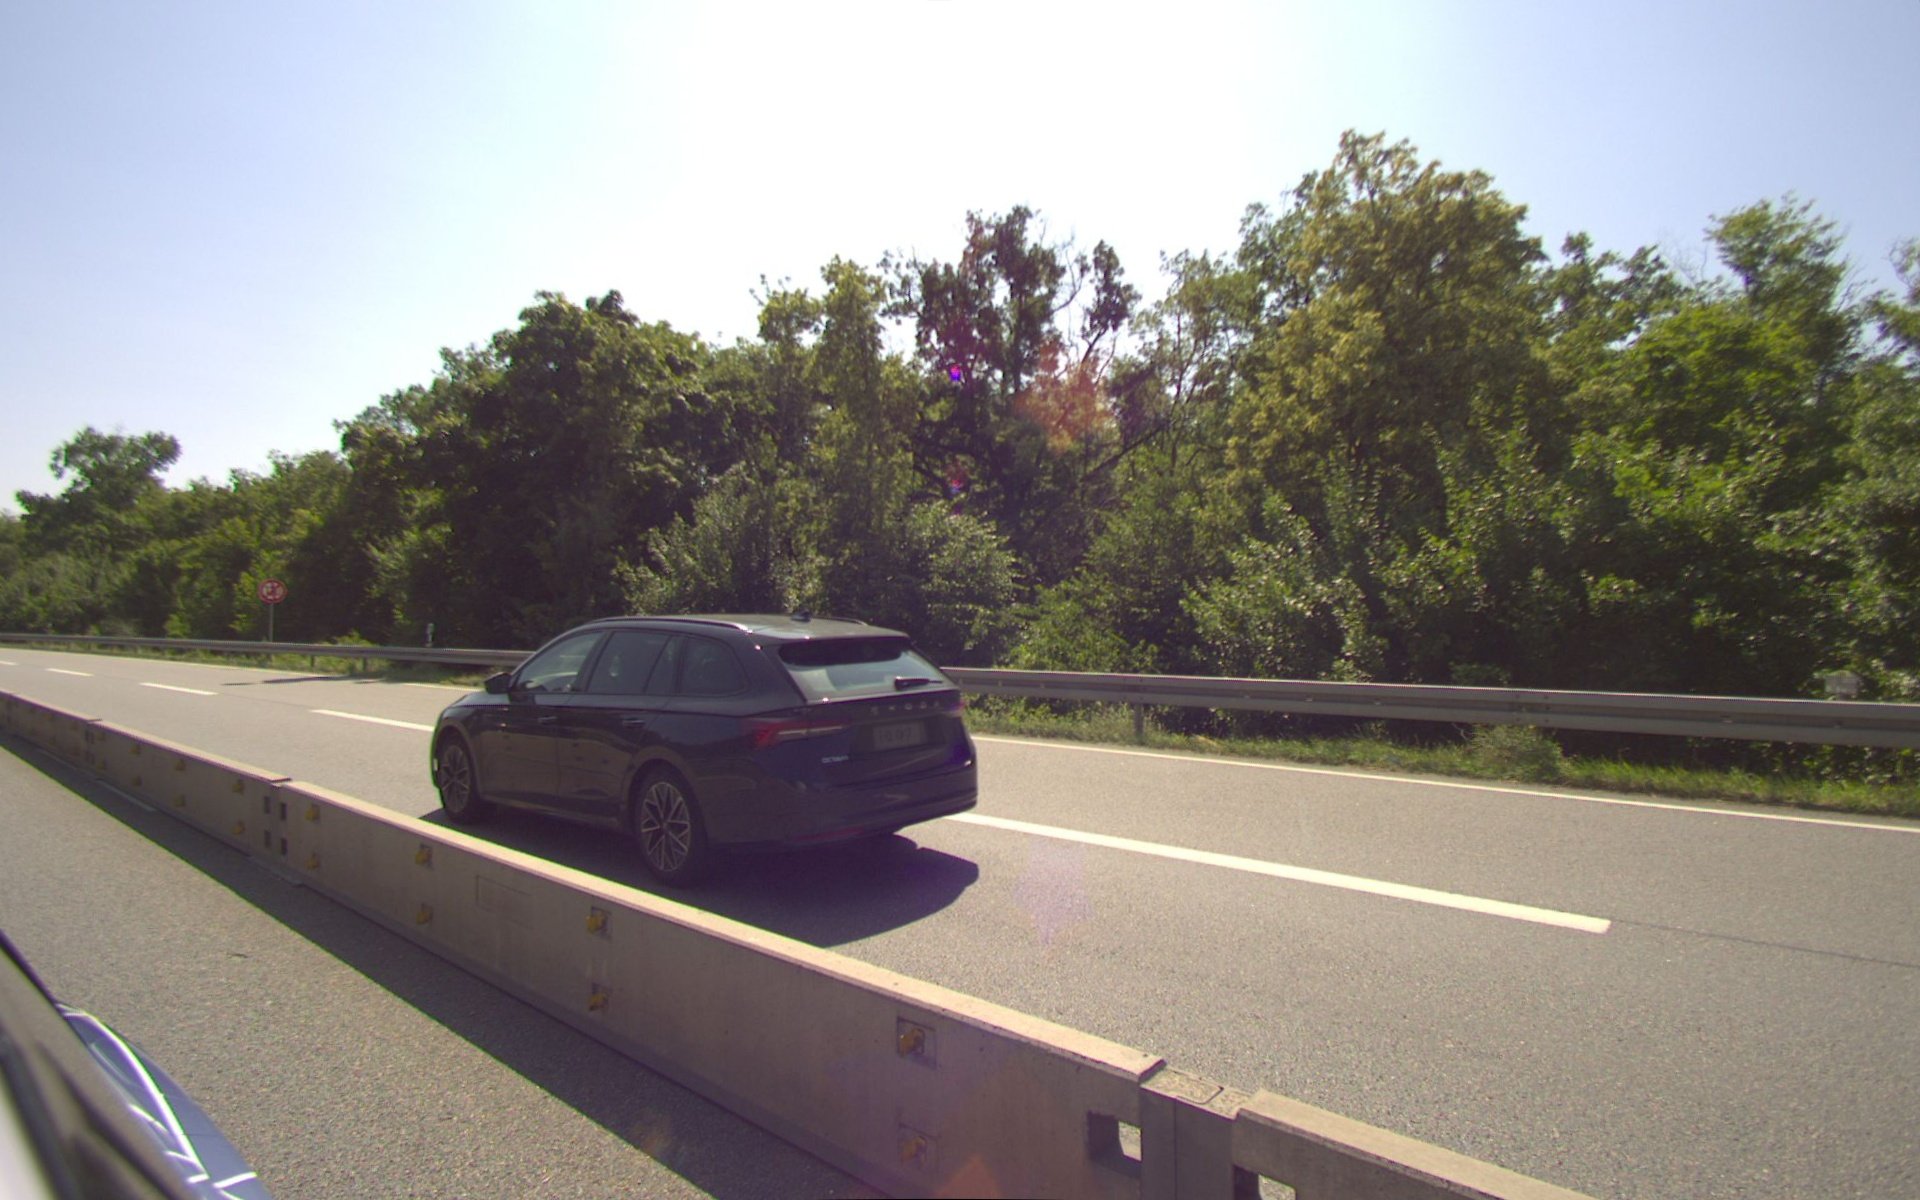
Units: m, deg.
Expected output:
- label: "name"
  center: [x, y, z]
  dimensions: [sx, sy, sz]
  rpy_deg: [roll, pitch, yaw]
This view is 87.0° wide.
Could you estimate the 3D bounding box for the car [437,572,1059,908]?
- label: "car"
  center: [-1.615, 0.666, 6.602]
  dimensions: [4.255, 1.493, 1.803]
  rpy_deg: [-2, -1, 42]
